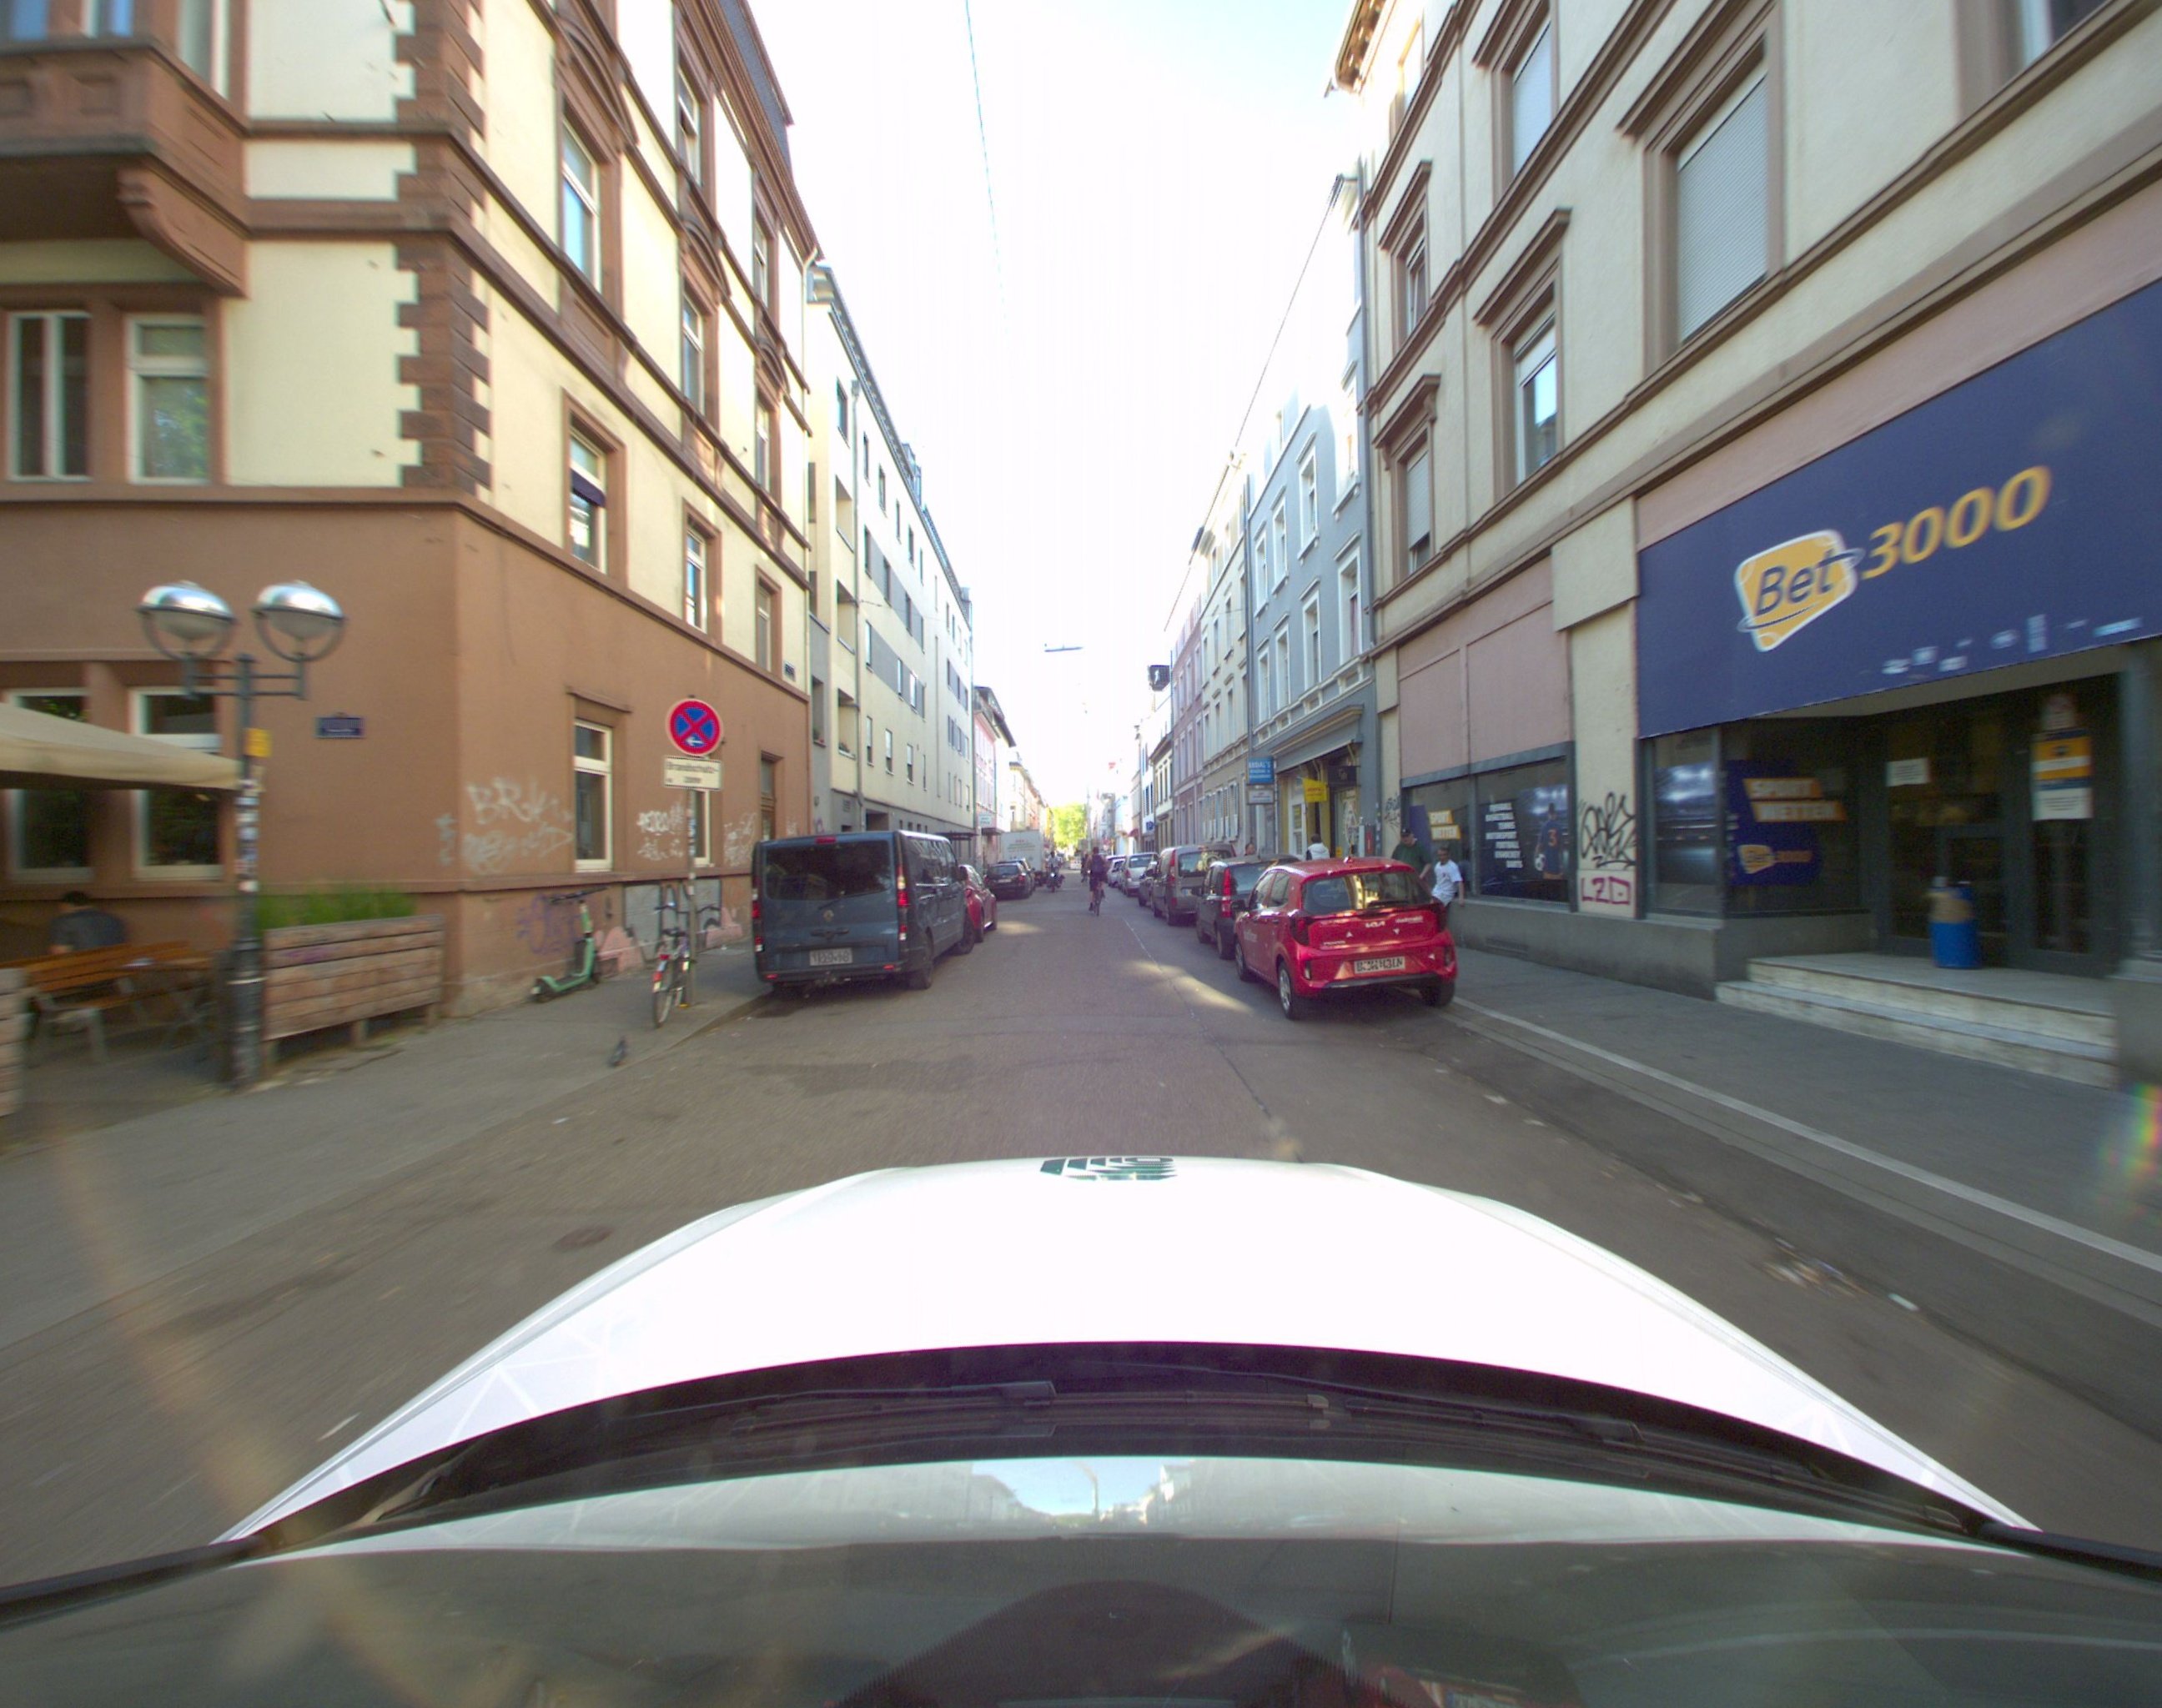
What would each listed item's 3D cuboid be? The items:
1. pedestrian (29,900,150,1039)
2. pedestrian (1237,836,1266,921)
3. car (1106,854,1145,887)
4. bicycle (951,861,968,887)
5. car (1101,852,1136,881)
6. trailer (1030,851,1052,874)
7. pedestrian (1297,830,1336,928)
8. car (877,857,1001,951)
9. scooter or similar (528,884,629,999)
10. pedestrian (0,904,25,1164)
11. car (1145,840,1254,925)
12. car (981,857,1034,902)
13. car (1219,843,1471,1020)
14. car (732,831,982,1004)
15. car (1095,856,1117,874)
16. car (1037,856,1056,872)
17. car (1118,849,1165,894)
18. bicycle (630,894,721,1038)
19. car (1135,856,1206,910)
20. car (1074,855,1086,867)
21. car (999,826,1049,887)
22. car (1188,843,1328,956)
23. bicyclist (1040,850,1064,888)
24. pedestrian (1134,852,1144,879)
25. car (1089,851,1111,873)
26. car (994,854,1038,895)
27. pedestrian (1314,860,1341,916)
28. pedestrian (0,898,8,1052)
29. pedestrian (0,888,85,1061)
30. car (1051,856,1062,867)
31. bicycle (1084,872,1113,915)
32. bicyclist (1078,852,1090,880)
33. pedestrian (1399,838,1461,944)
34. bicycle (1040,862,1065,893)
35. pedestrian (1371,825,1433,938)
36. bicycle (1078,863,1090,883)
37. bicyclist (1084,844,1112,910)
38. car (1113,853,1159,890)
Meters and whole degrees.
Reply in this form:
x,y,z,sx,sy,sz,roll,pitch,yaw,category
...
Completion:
x,y,z,sx,sy,sz,roll,pitch,yaw,category
-8.978,1.030,7.388,0.441,1.186,0.420,3,-3,-1,pedestrian
3.515,0.495,16.778,0.440,1.704,0.654,0,-1,-1,pedestrian
2.350,0.866,43.722,1.682,1.543,4.043,-3,-1,-1,car
-5.876,0.960,39.338,0.488,1.164,1.773,-3,0,0,bicycle
2.319,0.777,51.667,1.912,1.706,4.364,-1,0,-1,car
-3.854,0.804,78.725,1.876,2.092,3.735,-2,-1,-1,trailer
4.272,0.448,14.790,0.560,1.740,0.427,0,-1,-4,pedestrian
-2.717,0.913,16.424,1.746,1.522,3.867,-4,-1,-1,car
-5.859,0.982,9.570,0.346,1.216,1.391,0,-1,-1,scooter or similar
-6.366,1.005,4.312,0.704,1.445,0.616,0,-1,-2,pedestrian
2.717,0.635,19.602,1.894,1.793,4.312,0,-1,-1,car
-2.887,0.973,32.815,1.712,1.478,4.496,-4,1,-1,car
2.677,0.709,9.097,1.602,1.572,3.551,0,-1,-1,car
-2.780,0.687,11.577,2.013,1.879,5.297,0,0,0,car
2.143,0.928,70.479,1.744,1.487,3.799,-2,-1,0,car
-3.504,1.025,82.854,1.745,1.573,3.794,-2,-1,-1,car
2.419,0.708,33.042,1.552,1.712,3.556,0,-1,-1,car
-4.082,1.051,8.314,0.551,1.216,1.976,0,-1,-18,bicycle
2.652,0.836,24.805,1.549,1.511,3.607,0,-1,-4,car
-0.156,0.900,109.087,1.606,1.560,3.608,0,-1,-1,car
-3.337,0.172,49.162,2.336,3.291,7.152,-3,-1,0,car
2.831,0.688,13.673,1.564,1.557,3.314,-4,-1,1,car
-1.319,0.670,37.162,0.947,1.628,0.953,-3,0,0,bicyclist
4.274,0.839,59.804,0.642,2.014,0.763,0,-1,-1,pedestrian
1.739,0.749,75.533,1.746,1.879,3.967,-2,-1,-3,car
-3.043,0.924,38.752,1.712,1.650,4.243,-4,1,-1,car
5.423,0.745,17.955,0.437,1.222,0.514,0,-1,1,pedestrian
-9.912,1.091,6.920,0.616,1.360,0.691,-2,0,-1,pedestrian
-9.004,0.988,6.715,0.675,1.360,0.691,-2,0,-1,pedestrian
-3.958,1.144,132.113,1.745,1.683,3.794,-2,-1,-1,car
0.449,1.021,21.523,0.675,1.074,1.940,0,-1,-1,bicycle
0.169,0.692,45.868,0.669,1.567,0.715,0,-1,-3,bicyclist
5.205,0.539,12.176,0.586,1.529,0.657,0,-1,-7,pedestrian
-1.290,1.042,37.367,0.974,1.314,2.555,-3,0,0,bicycle
5.079,0.419,12.907,0.629,1.740,0.656,0,-1,-14,pedestrian
0.169,1.067,45.910,0.647,1.129,2.134,0,-1,-1,bicycle
0.441,0.597,21.457,0.666,1.677,1.096,0,-1,-2,bicyclist
2.528,0.815,38.520,1.692,1.543,4.626,-3,-1,-1,car
